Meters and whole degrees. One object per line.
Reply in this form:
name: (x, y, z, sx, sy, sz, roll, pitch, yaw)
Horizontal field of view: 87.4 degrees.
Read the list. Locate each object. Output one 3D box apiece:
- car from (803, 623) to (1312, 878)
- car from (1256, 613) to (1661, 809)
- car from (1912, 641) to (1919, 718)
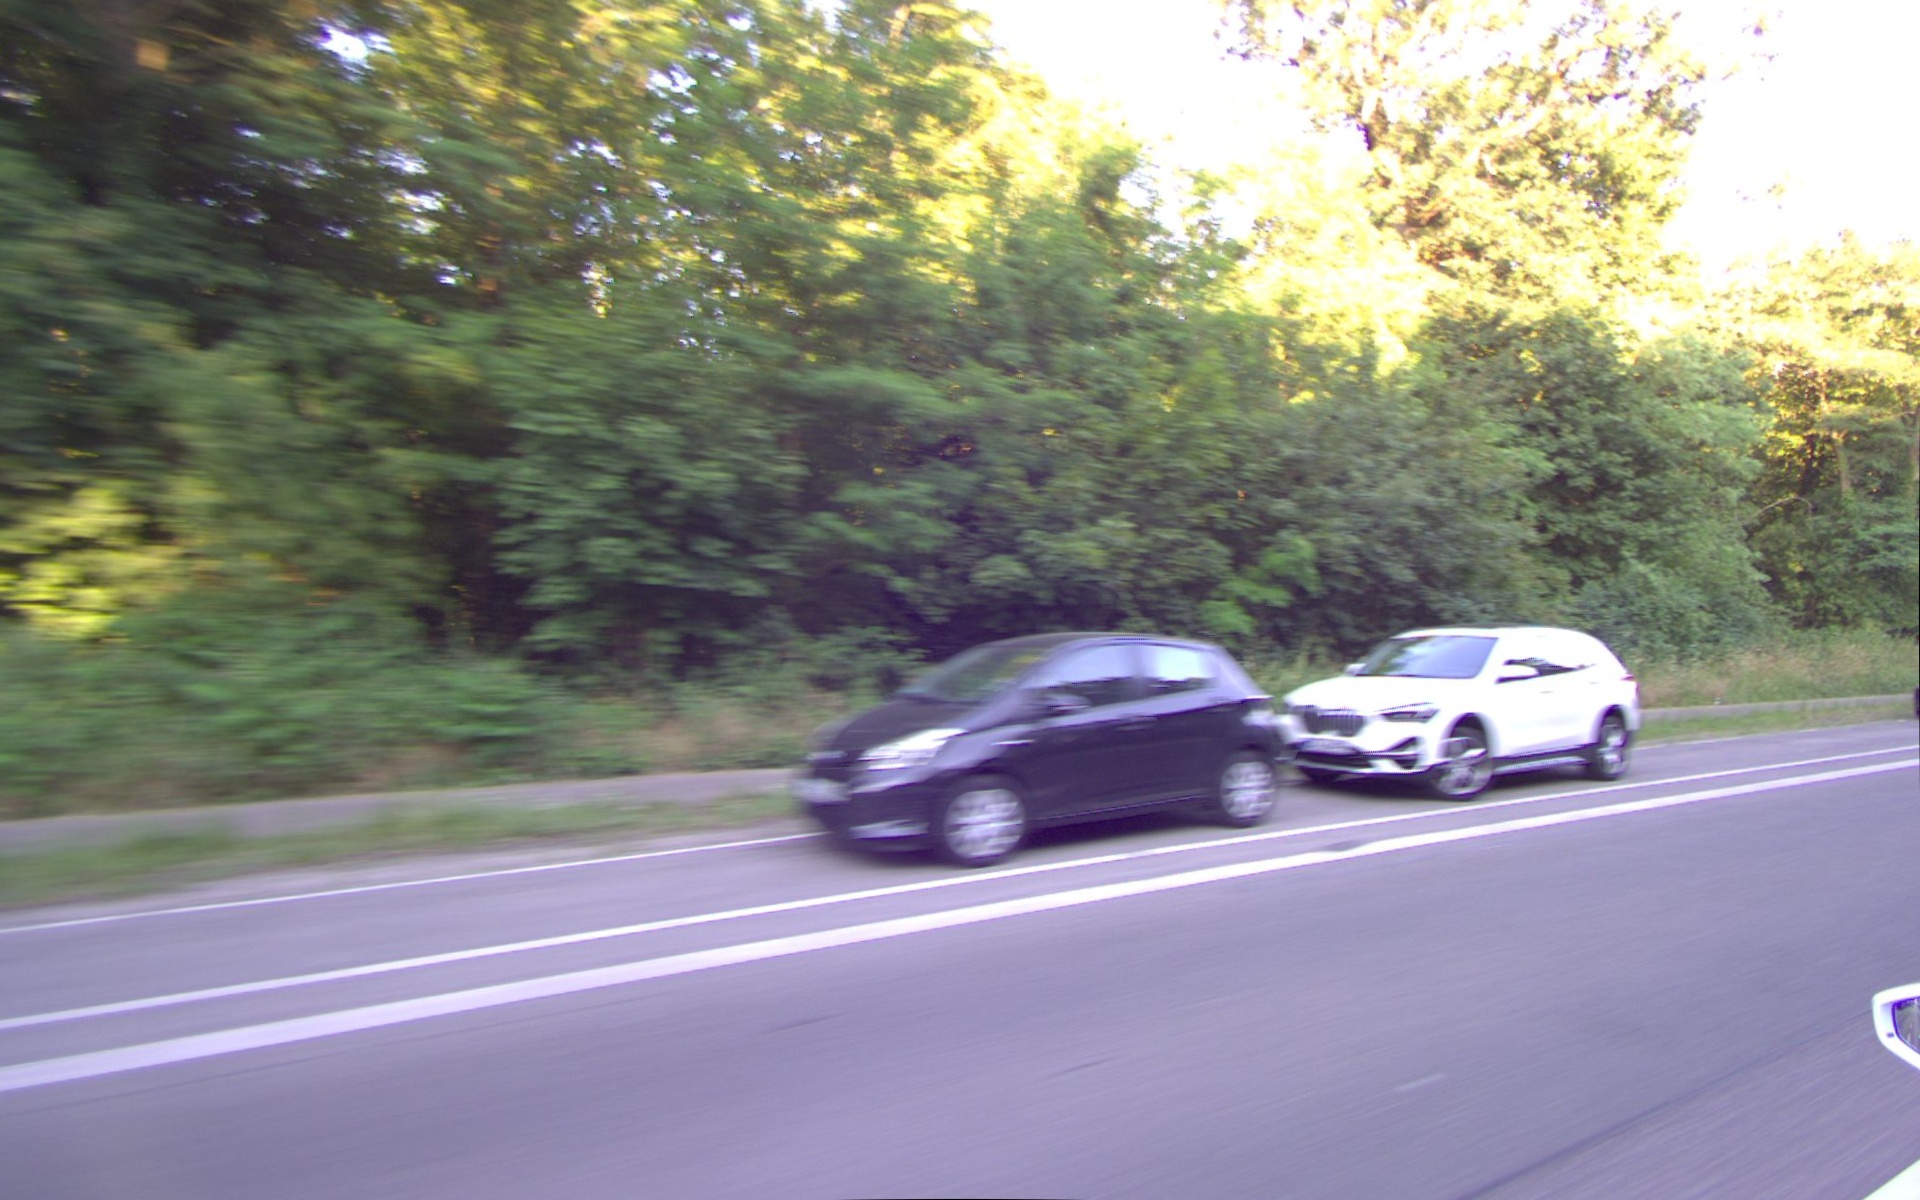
car: (0.821, 0.978, 7.780, 3.694, 1.540, 1.663, 1, -3, -32)
car: (5.302, 1.024, 10.488, 4.522, 1.667, 1.686, 1, -3, -32)
car: (19.782, 1.489, 18.984, 4.005, 1.413, 1.589, 1, -2, -31)
